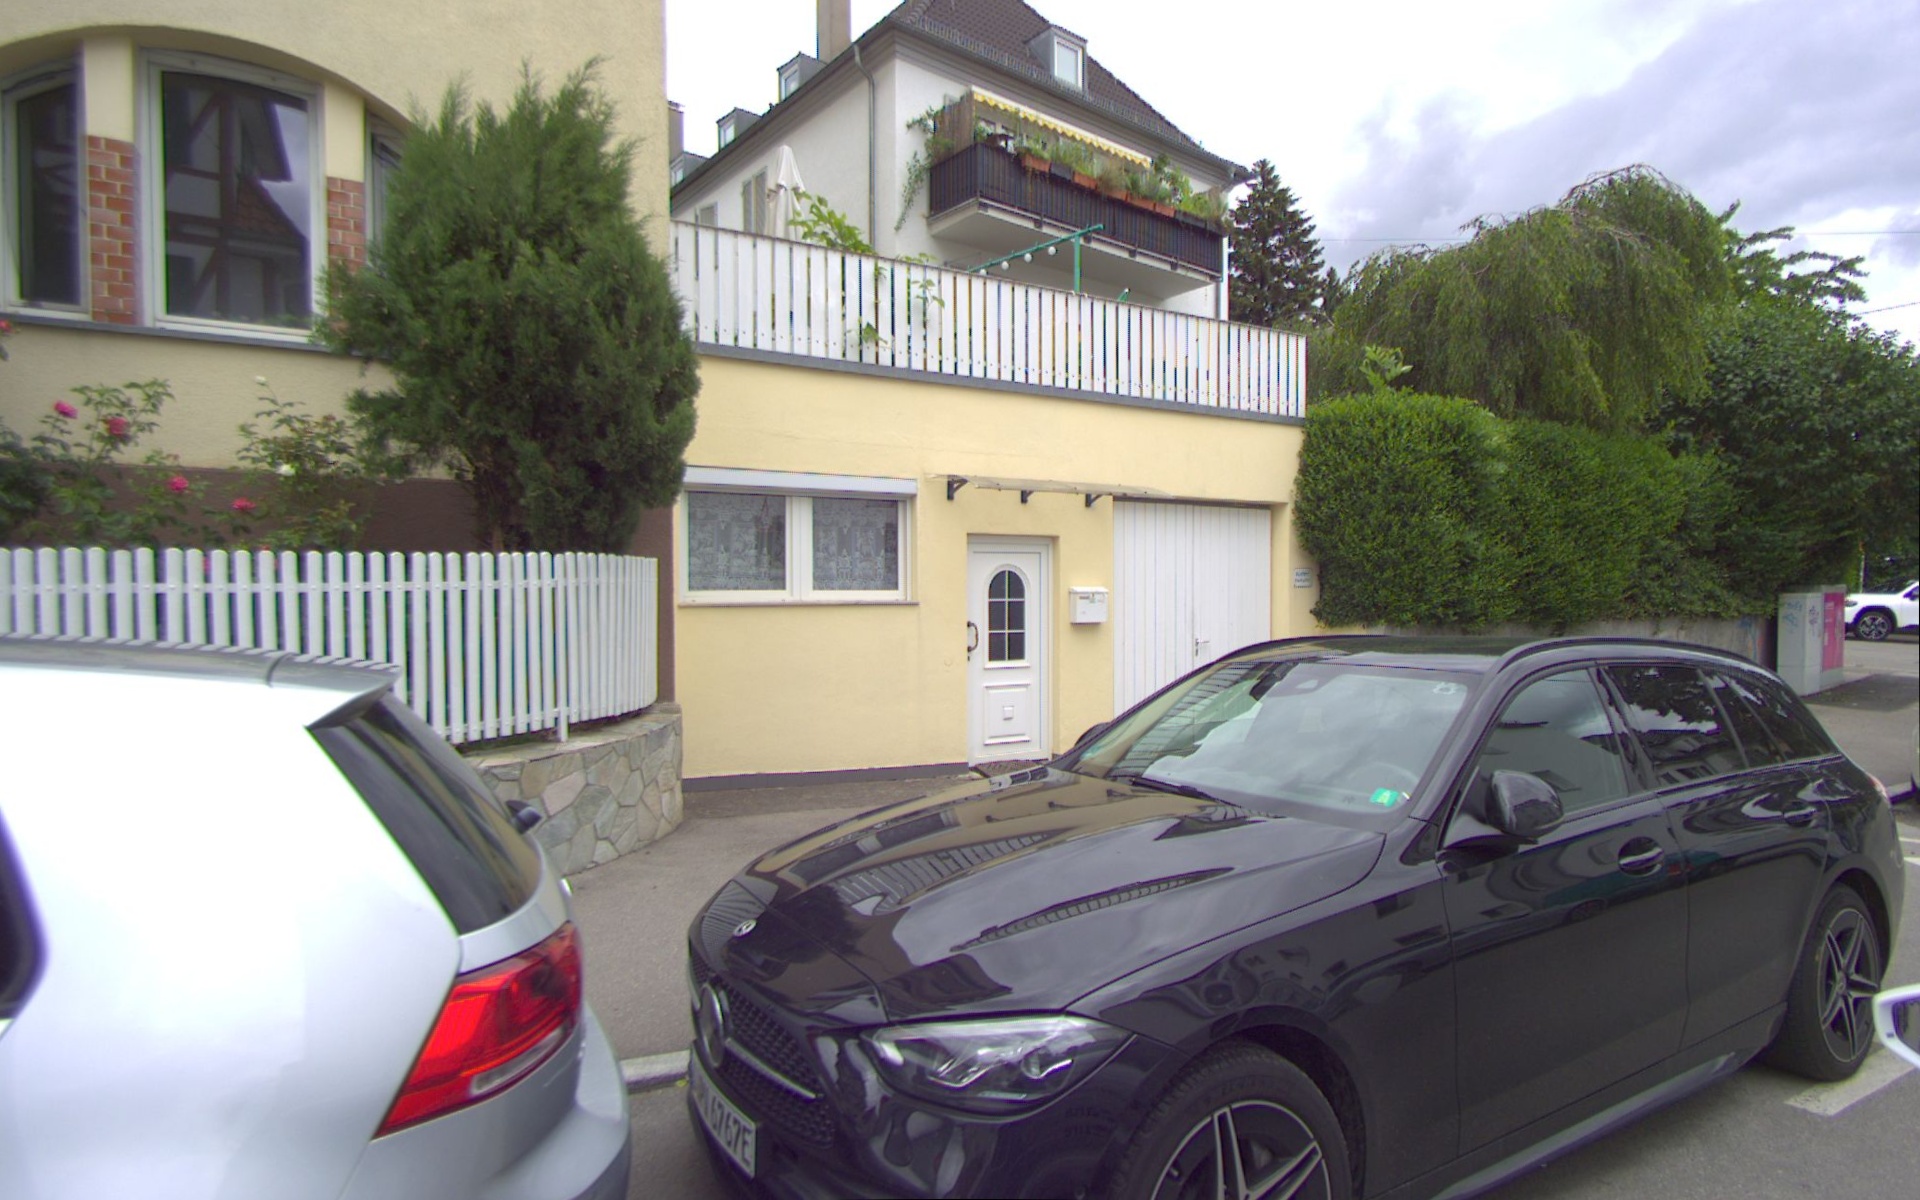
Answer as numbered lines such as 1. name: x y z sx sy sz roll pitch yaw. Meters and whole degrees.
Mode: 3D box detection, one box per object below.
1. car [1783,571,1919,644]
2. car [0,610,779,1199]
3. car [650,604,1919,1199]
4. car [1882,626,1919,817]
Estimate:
1. car: 23.526 0.187 24.890 4.423 1.678 1.835 2 3 13
2. car: -2.424 0.719 1.106 4.076 1.447 1.631 2 -2 -31
3. car: 1.340 0.797 3.393 4.278 1.500 1.794 1 0 -31
4. car: 9.282 0.933 8.207 3.572 1.472 1.599 0 -2 -31
